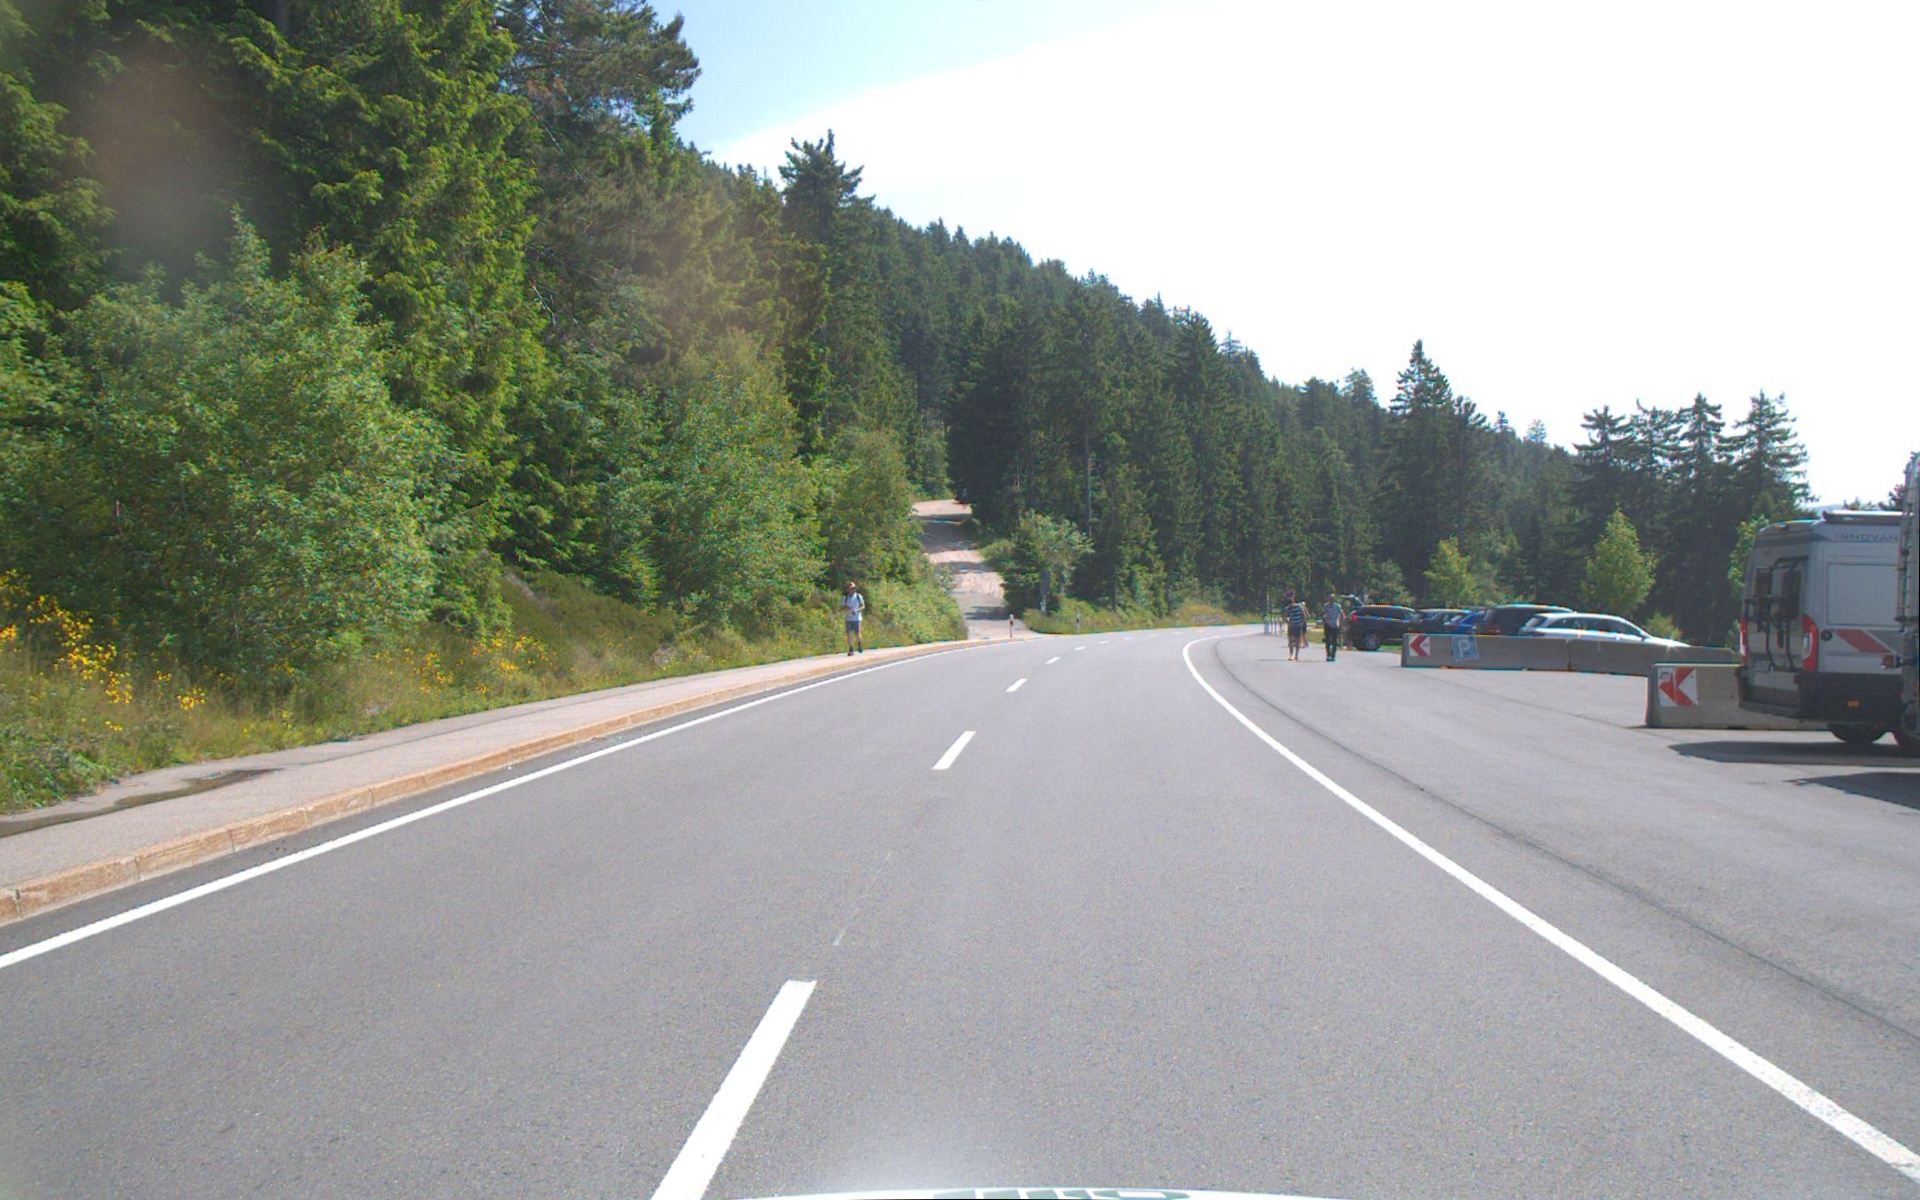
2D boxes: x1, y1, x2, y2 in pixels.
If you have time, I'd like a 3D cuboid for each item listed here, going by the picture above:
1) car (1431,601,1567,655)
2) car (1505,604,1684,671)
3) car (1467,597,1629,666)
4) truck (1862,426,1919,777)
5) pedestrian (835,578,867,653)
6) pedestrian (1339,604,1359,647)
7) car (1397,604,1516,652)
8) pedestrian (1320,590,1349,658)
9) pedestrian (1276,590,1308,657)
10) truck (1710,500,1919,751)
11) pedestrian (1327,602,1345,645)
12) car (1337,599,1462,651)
[{"bbox_3d":[17.788,0.913,54.728,3.904,1.562,1.808,1,3,2],"label":"car"},{"bbox_3d":[16.332,0.950,42.712,3.904,1.502,1.774,3,0,3],"label":"car"},{"bbox_3d":[16.359,0.869,46.119,3.904,1.675,1.601,3,0,2],"label":"car"},{"bbox_3d":[11.840,0.017,14.988,5.936,3.252,2.533,0,0,3],"label":"truck"},{"bbox_3d":[-2.630,0.366,39.950,0.668,1.777,0.825,1,0,1],"label":"pedestrian"},{"bbox_3d":[14.996,0.964,63.738,0.604,1.615,0.735,0,1,25],"label":"pedestrian"},{"bbox_3d":[17.433,0.983,58.151,3.675,1.595,1.600,1,0,0],"label":"car"},{"bbox_3d":[10.004,0.633,44.148,0.651,1.771,0.894,0,0,19],"label":"pedestrian"},{"bbox_3d":[8.959,0.629,44.590,0.738,1.791,0.775,0,0,19],"label":"pedestrian"},{"bbox_3d":[11.934,0.266,18.382,6.128,2.636,2.342,0,0,5],"label":"truck"},{"bbox_3d":[14.758,0.921,64.922,0.639,1.689,0.688,0,1,19],"label":"pedestrian"},{"bbox_3d":[16.210,0.913,61.134,4.174,1.825,1.893,1,0,3],"label":"car"}]
